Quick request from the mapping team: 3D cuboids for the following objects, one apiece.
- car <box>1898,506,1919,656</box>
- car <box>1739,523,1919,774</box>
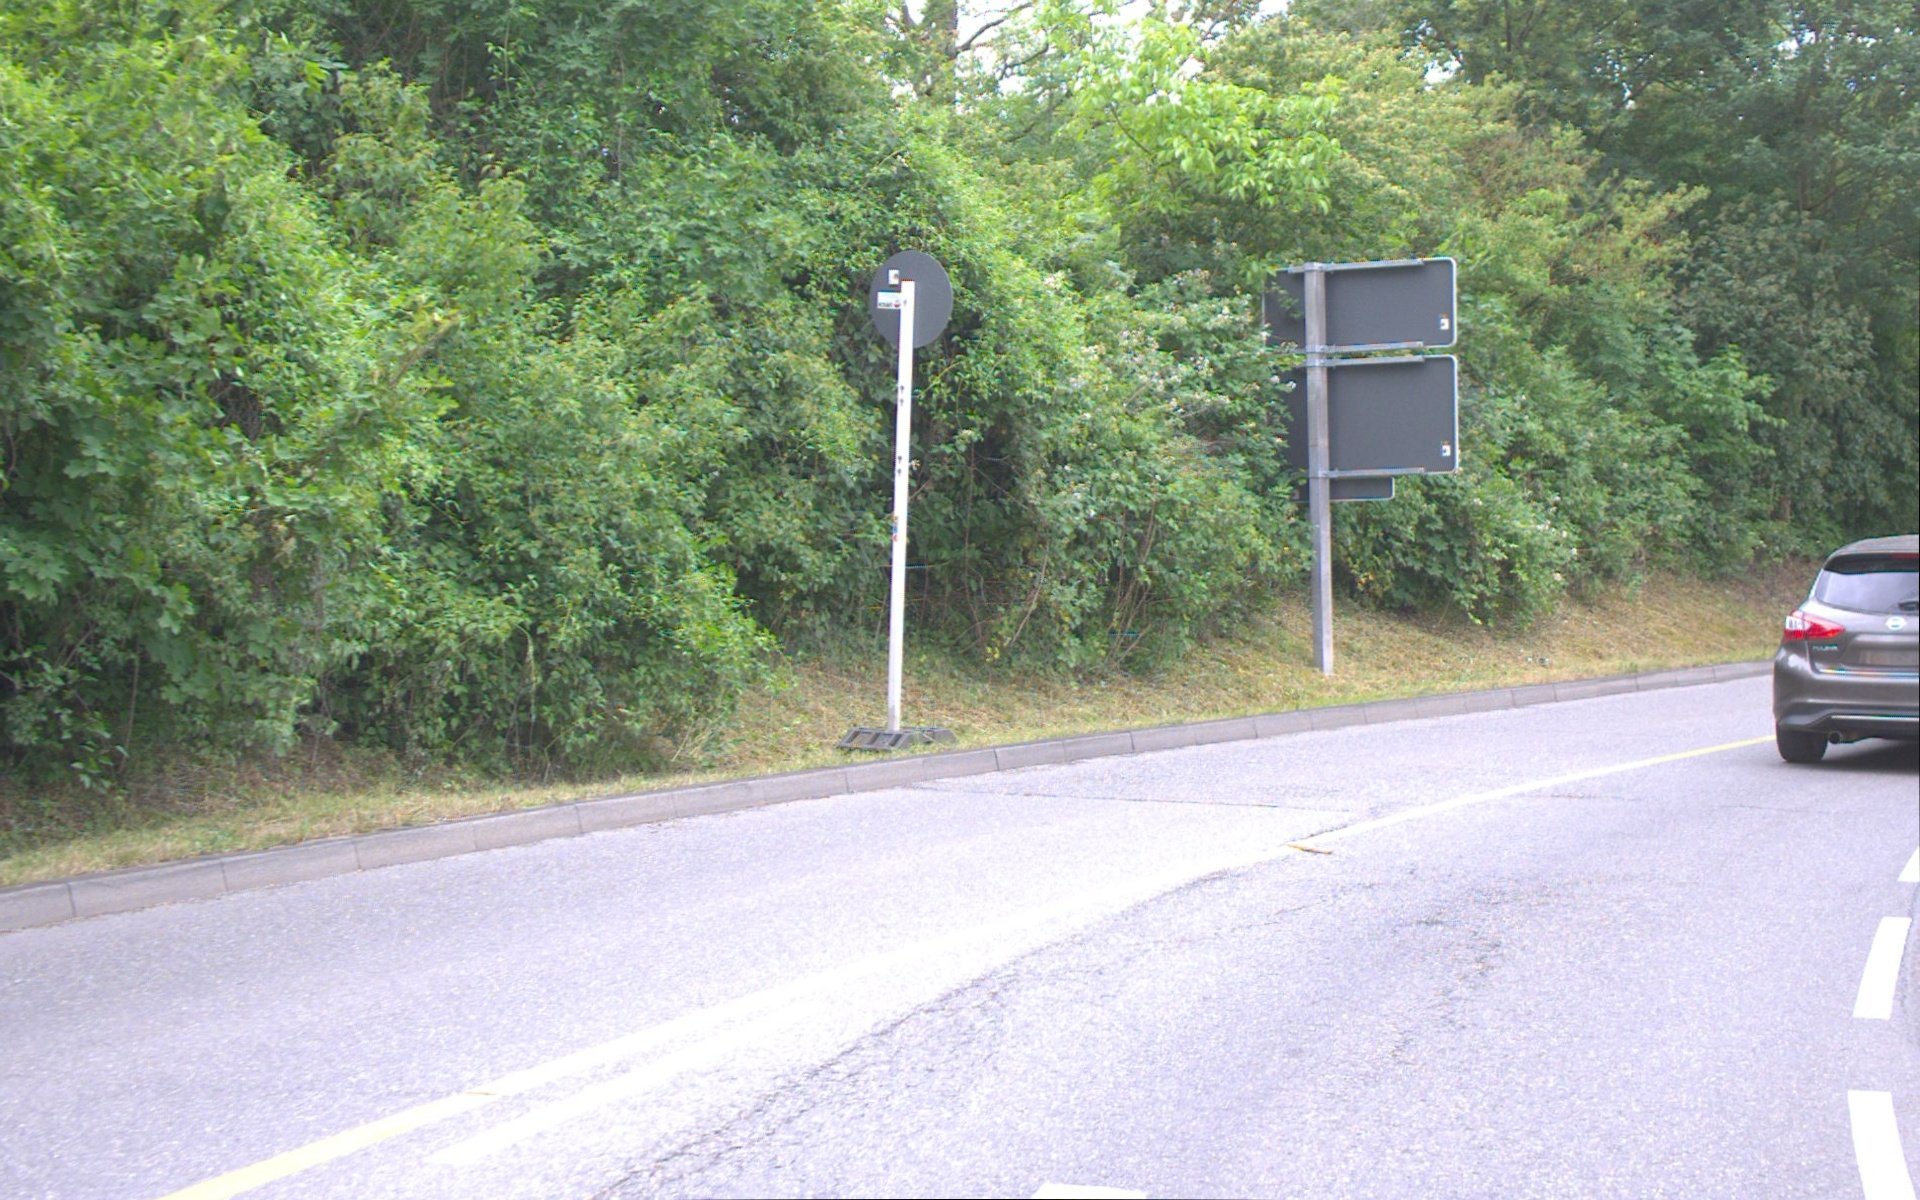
[{"bbox_3d":[11.566,-0.206,36.827,1.659,1.546,4.179,2,2,34],"label":"car"},{"bbox_3d":[6.789,0.274,23.250,1.801,1.546,3.993,2,2,30],"label":"car"}]
